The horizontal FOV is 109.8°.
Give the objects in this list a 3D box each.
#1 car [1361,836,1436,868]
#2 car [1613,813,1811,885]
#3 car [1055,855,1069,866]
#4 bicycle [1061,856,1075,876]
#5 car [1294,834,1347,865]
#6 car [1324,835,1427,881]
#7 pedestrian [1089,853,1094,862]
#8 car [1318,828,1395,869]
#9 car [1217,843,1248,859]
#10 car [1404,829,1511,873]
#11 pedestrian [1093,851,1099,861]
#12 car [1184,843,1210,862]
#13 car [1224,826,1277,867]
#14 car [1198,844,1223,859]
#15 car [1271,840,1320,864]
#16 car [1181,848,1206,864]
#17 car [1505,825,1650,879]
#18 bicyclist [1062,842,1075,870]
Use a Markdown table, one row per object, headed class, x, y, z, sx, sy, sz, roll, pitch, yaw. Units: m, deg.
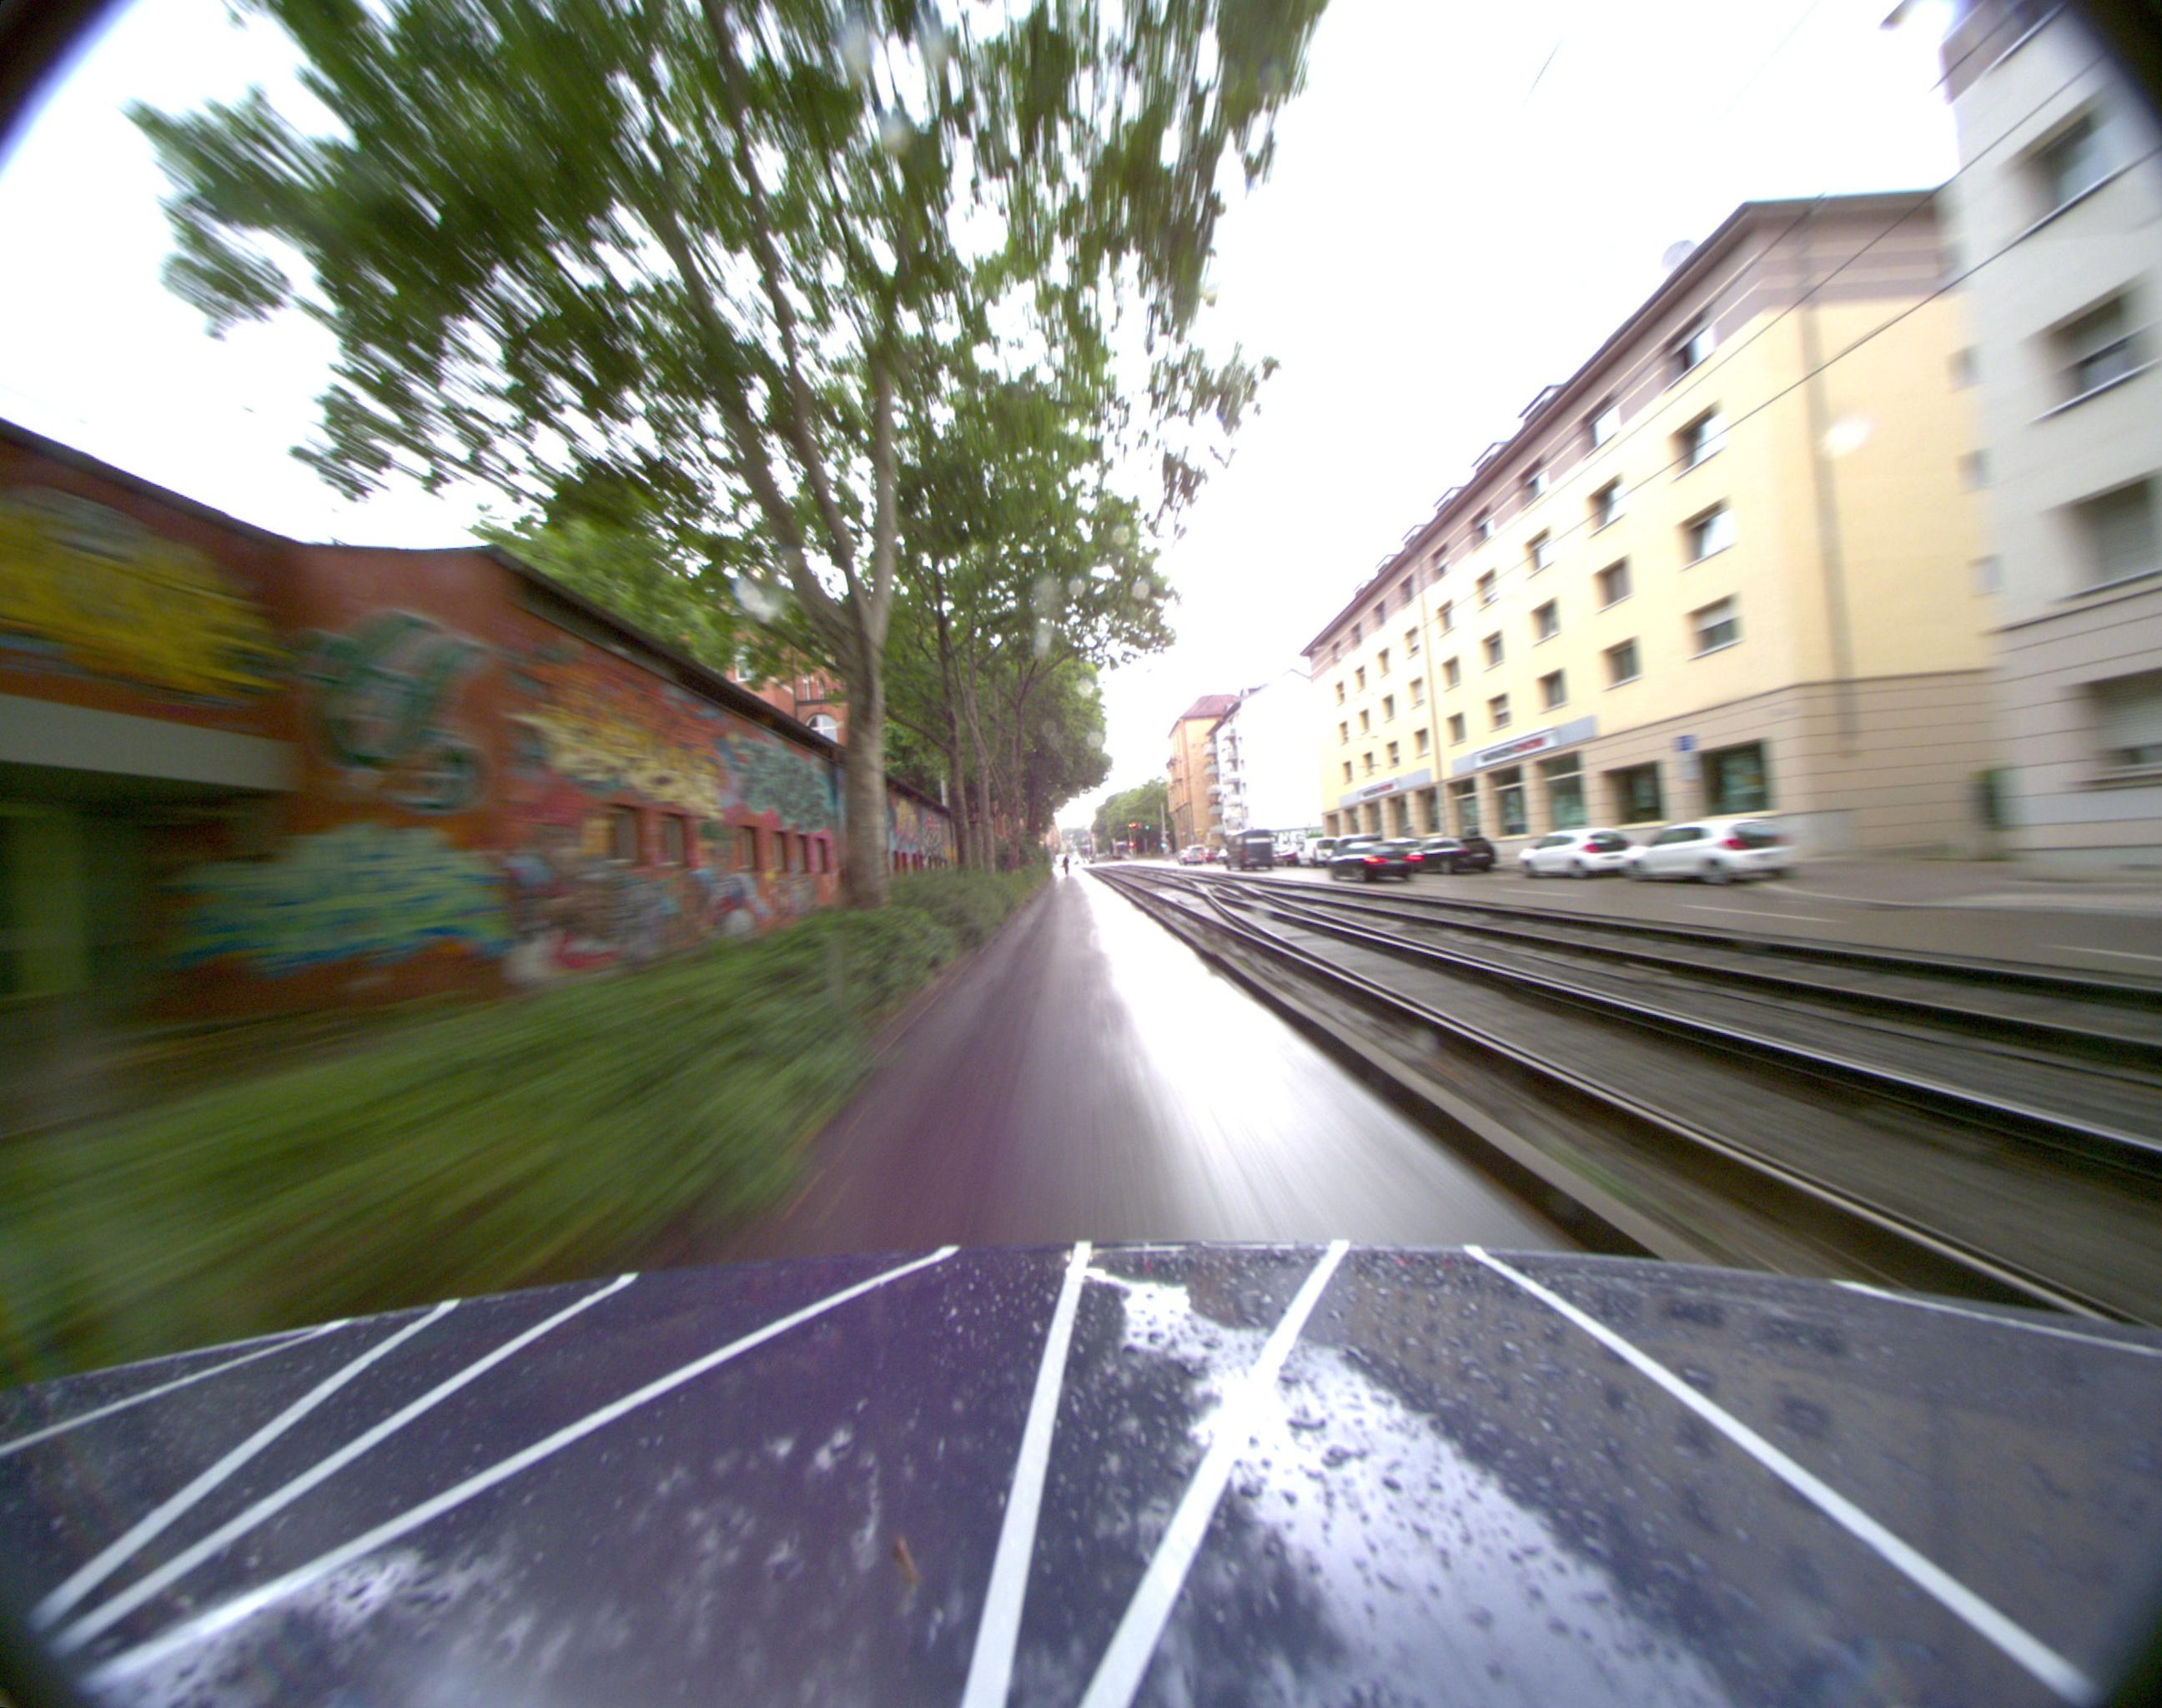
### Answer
| class | x | y | z | sx | sy | sz | roll | pitch | yaw |
| --- | --- | --- | --- | --- | --- | --- | --- | --- | --- |
| car | 15.045 | -0.074 | 36.252 | 1.696 | 1.431 | 4.047 | 0 | 0 | -4 |
| car | 15.296 | -0.110 | 18.690 | 1.713 | 1.441 | 3.540 | -6 | 0 | -3 |
| car | -2.734 | 0.931 | 110.244 | 1.884 | 1.439 | 3.999 | -5 | 1 | -1 |
| bicycle | -1.012 | 0.942 | 61.209 | 0.936 | 1.545 | 3.135 | -3 | 0 | 1 |
| car | 14.760 | -0.299 | 47.108 | 1.872 | 1.707 | 4.460 | -4 | 0 | 1 |
| car | 10.844 | 0.174 | 28.436 | 1.885 | 1.477 | 4.854 | -4 | -1 | 0 |
| pedestrian | 1.991 | 0.703 | 147.116 | 0.837 | 1.595 | 1.001 | -4 | 1 | -3 |
| car | 14.834 | -0.294 | 41.314 | 1.999 | 1.894 | 5.459 | -6 | 0 | 0 |
| car | 14.183 | -0.292 | 71.334 | 1.684 | 1.388 | 4.621 | -4 | 0 | -2 |
| car | 14.932 | -0.108 | 30.444 | 1.818 | 1.490 | 4.582 | -5 | 0 | -1 |
| pedestrian | 2.902 | 0.359 | 146.939 | 0.827 | 1.788 | 1.001 | -4 | 1 | -3 |
| car | 13.989 | -0.117 | 91.938 | 2.075 | 1.997 | 5.301 | -7 | 0 | -1 |
| car | 11.044 | -0.511 | 49.946 | 1.999 | 2.437 | 5.997 | -4 | 1 | 0 |
| car | 13.799 | -0.272 | 81.045 | 1.658 | 1.443 | 4.072 | -4 | 0 | -4 |
| car | 14.833 | -0.130 | 52.804 | 1.856 | 1.424 | 4.831 | -5 | 0 | -1 |
| car | 11.204 | 0.198 | 75.967 | 1.716 | 1.454 | 4.280 | -3 | 0 | 0 |
| car | 15.226 | -0.066 | 23.596 | 1.708 | 1.388 | 3.934 | -5 | 0 | -3 |
| bicyclist | -1.002 | 0.155 | 61.186 | 0.921 | 2.250 | 1.287 | -4 | 1 | 1 |
